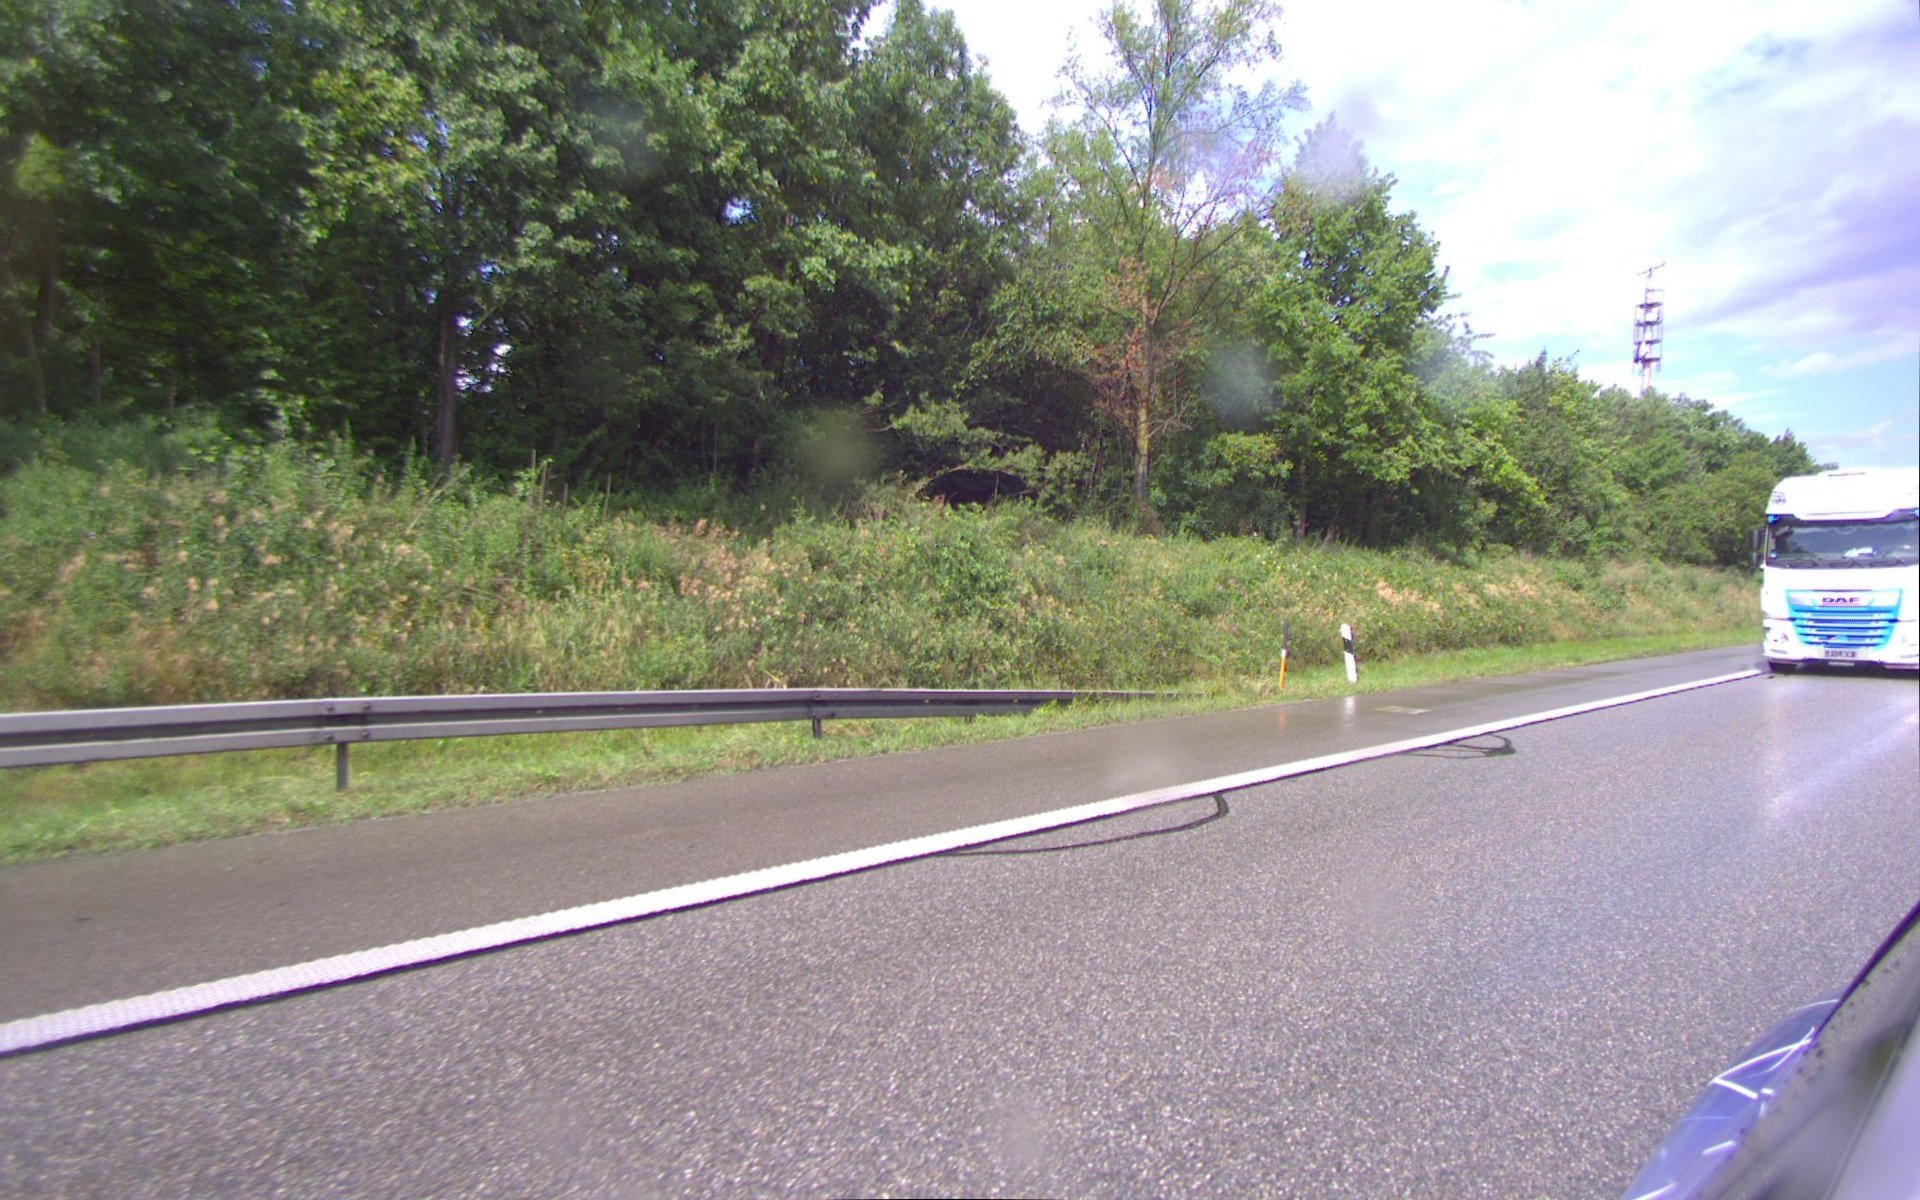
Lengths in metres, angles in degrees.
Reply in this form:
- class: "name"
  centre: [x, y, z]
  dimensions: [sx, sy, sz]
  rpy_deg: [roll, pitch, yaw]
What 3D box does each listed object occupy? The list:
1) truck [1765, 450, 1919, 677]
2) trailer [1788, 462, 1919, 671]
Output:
- class: "truck"
  centre: [19.157, -0.679, 21.035]
  dimensions: [7.165, 4.046, 2.610]
  rpy_deg: [-1, 0, -42]
- class: "trailer"
  centre: [23.338, -0.709, 24.772]
  dimensions: [13.822, 4.046, 2.638]
  rpy_deg: [-1, 0, -42]
